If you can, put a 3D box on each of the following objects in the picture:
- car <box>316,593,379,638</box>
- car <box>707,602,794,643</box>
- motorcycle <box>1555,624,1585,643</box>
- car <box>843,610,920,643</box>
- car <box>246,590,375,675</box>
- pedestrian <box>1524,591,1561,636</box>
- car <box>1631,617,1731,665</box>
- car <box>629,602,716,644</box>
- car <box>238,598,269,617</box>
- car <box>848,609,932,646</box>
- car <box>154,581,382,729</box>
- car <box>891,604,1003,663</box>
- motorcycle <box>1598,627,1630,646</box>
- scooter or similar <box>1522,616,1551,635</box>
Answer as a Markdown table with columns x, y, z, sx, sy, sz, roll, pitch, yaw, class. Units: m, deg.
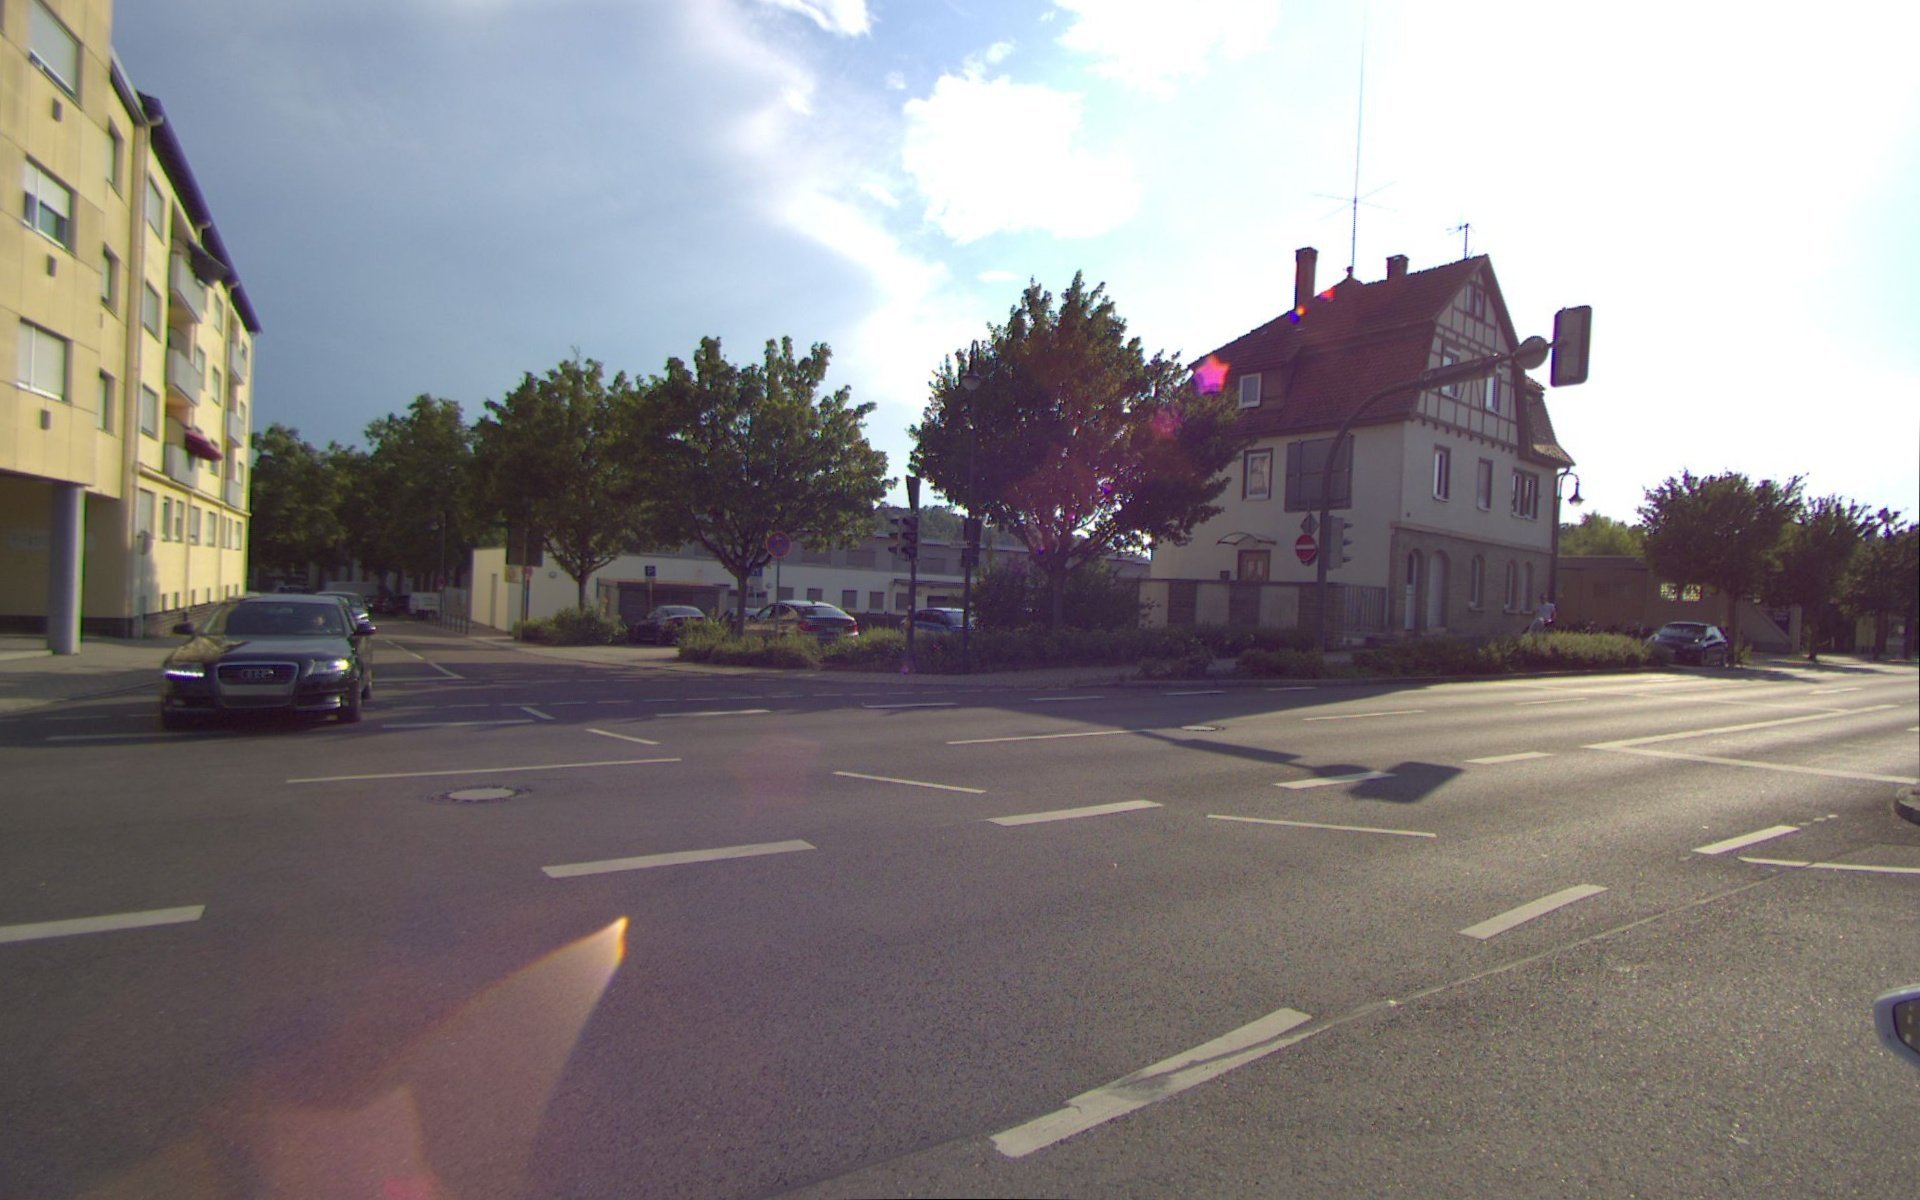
| x | y | z | sx | sy | sz | roll | pitch | yaw | class |
| --- | --- | --- | --- | --- | --- | --- | --- | --- | --- |
| -21.243 | 0.515 | 34.922 | 1.728 | 1.455 | 3.563 | 2 | -1 | -30 | car |
| -7.911 | 0.827 | 37.761 | 1.734 | 1.418 | 3.616 | 2 | -1 | -39 | car |
| 37.894 | 2.103 | 62.433 | 1.606 | 1.121 | 0.517 | 2 | 0 | -5 | motorcycle |
| -3.653 | 1.204 | 46.112 | 1.732 | 1.418 | 3.891 | 2 | -1 | -36 | car |
| -12.374 | 0.590 | 19.347 | 1.846 | 1.455 | 3.794 | 2 | -1 | -30 | car |
| 18.684 | 0.429 | 32.231 | 0.701 | 1.413 | 0.806 | 1 | 0 | -38 | pedestrian |
| 26.073 | 1.466 | 36.294 | 4.095 | 1.473 | 1.743 | 2 | 4 | -38 | car |
| -10.446 | 0.824 | 36.342 | 1.734 | 1.418 | 3.616 | 2 | -1 | -39 | car |
| -49.942 | 0.507 | 71.020 | 1.731 | 1.276 | 3.556 | 2 | -1 | -35 | car |
| -2.966 | 1.129 | 41.808 | 1.734 | 1.418 | 3.616 | 2 | -1 | -39 | car |
| -8.297 | 0.572 | 12.467 | 1.895 | 1.455 | 4.835 | 2 | -1 | -30 | car |
| -0.432 | 0.983 | 30.342 | 1.734 | 1.661 | 3.260 | 2 | -1 | -39 | car |
| 39.385 | 2.211 | 60.501 | 1.606 | 1.083 | 0.517 | 2 | 0 | -5 | motorcycle |
| 18.112 | 0.795 | 31.560 | 1.035 | 0.590 | 0.440 | 2 | 0 | -39 | scooter or similar |
